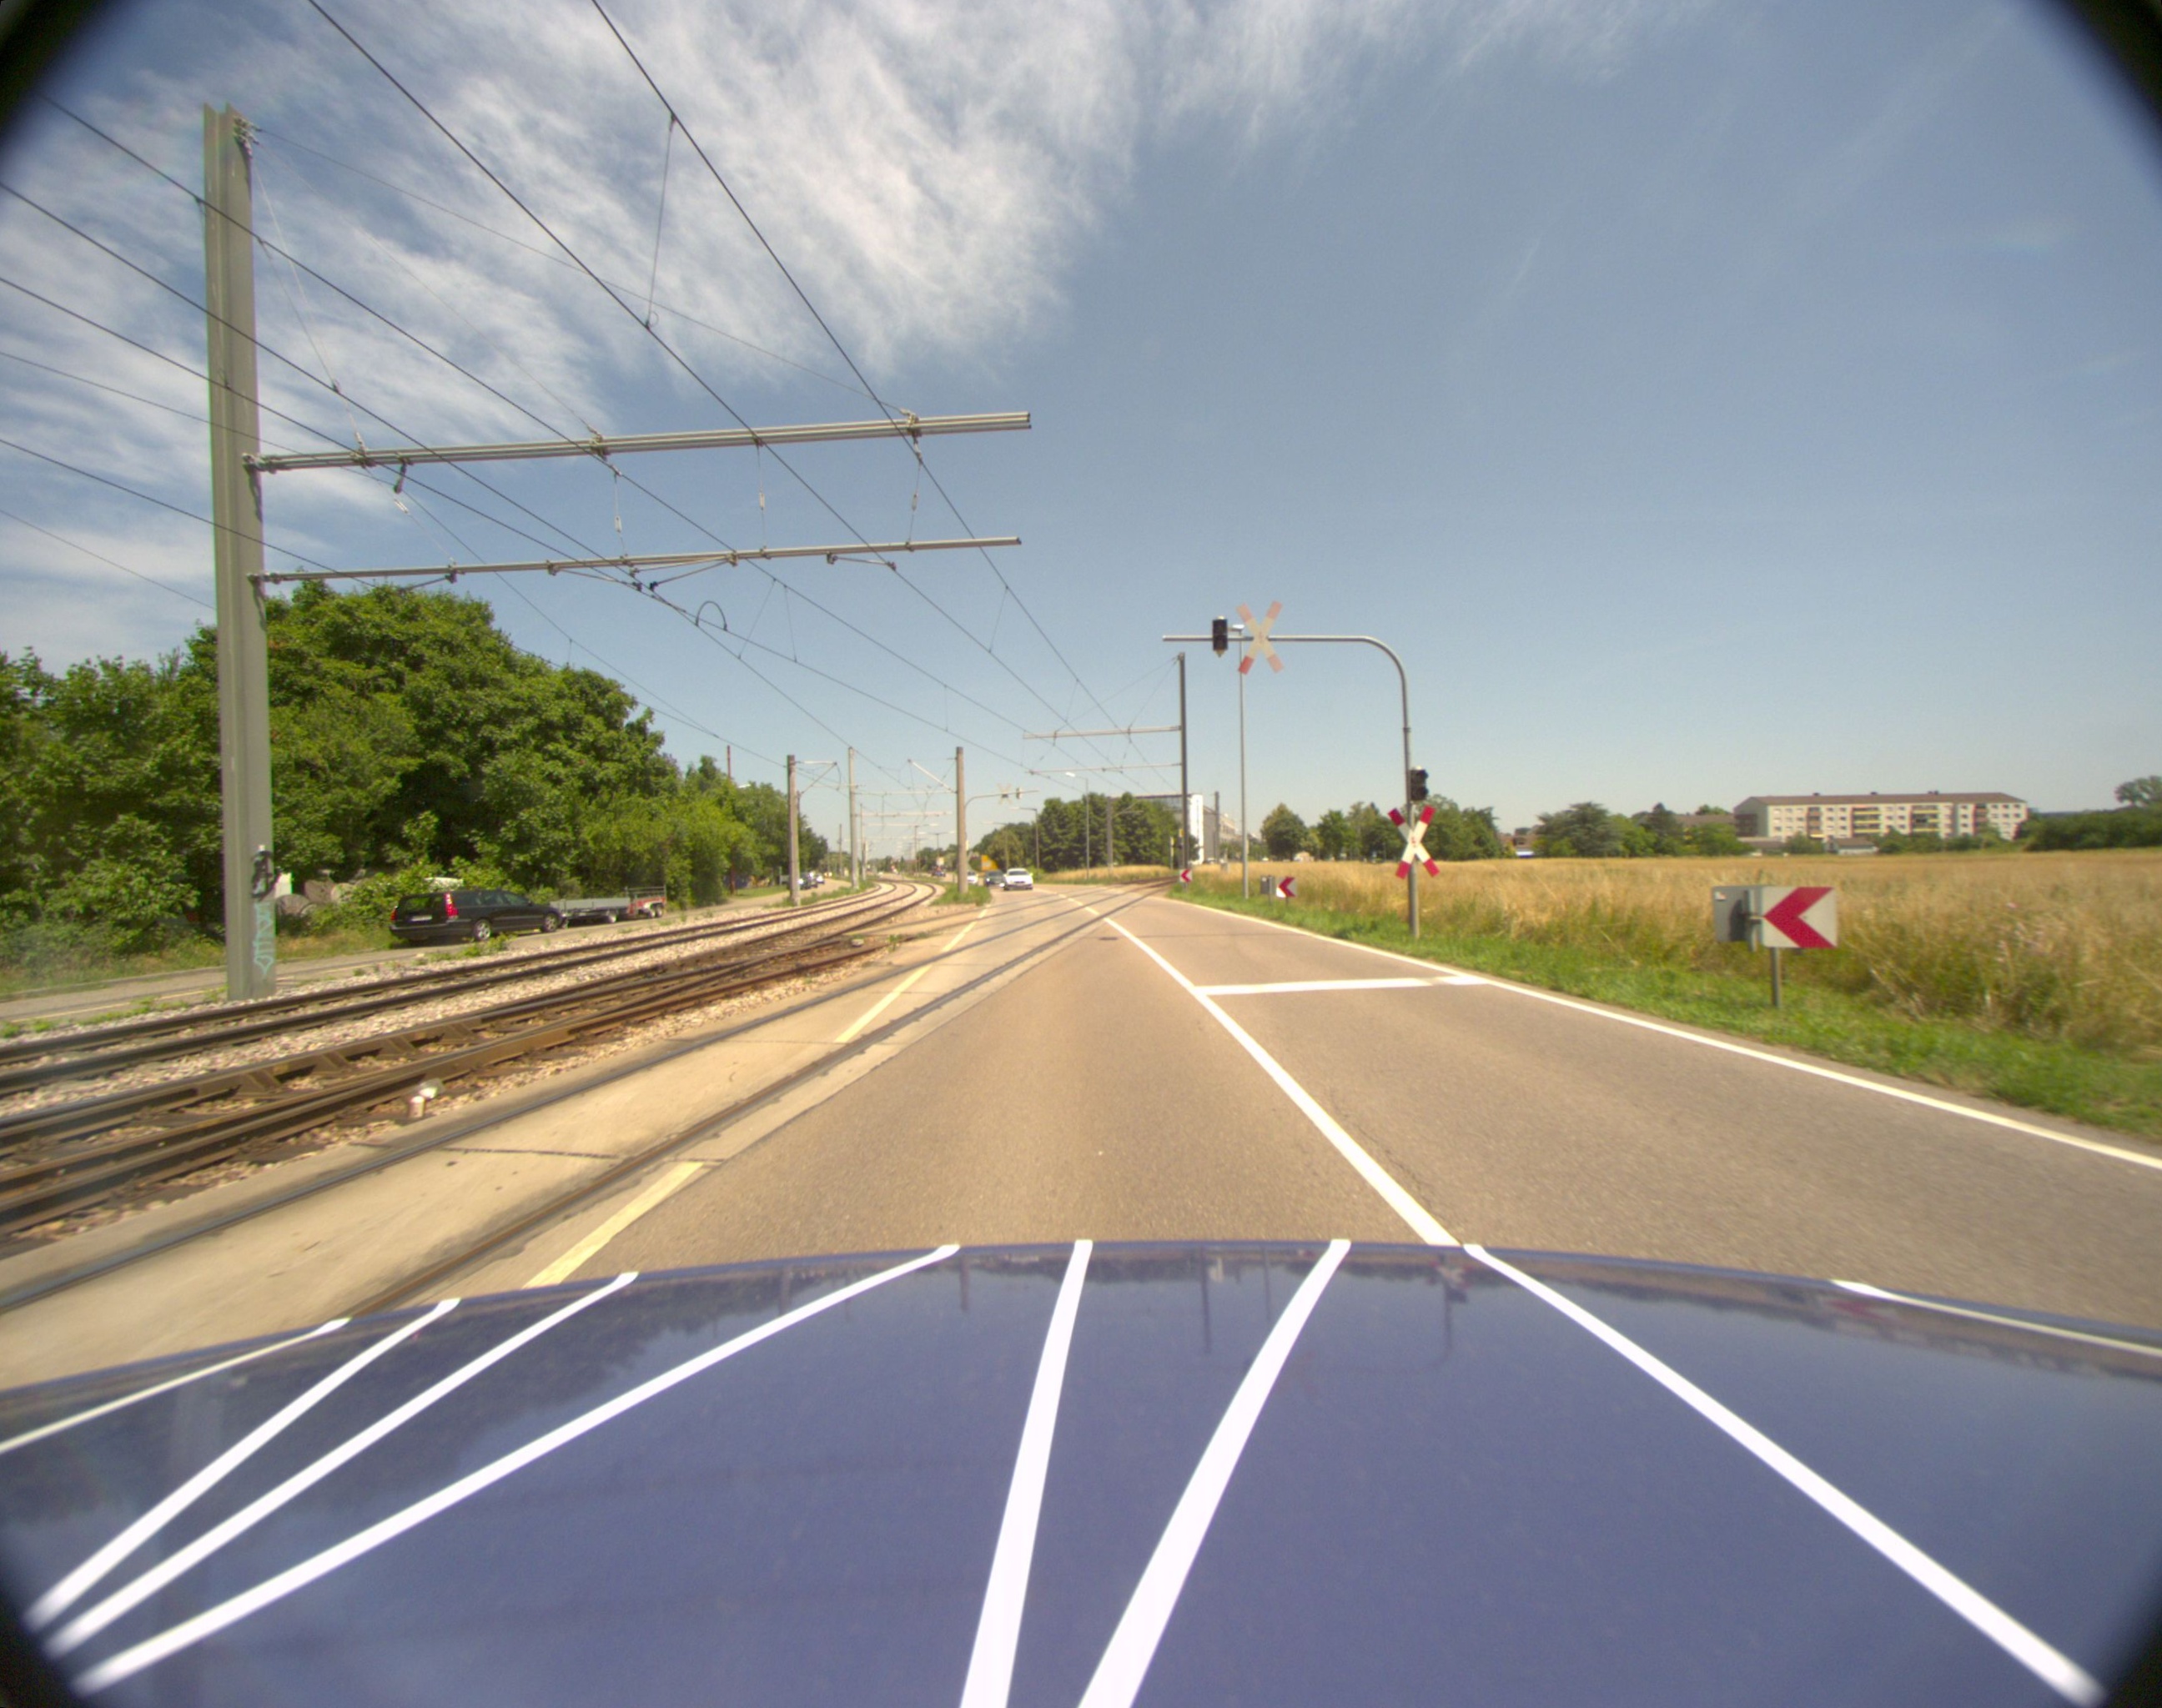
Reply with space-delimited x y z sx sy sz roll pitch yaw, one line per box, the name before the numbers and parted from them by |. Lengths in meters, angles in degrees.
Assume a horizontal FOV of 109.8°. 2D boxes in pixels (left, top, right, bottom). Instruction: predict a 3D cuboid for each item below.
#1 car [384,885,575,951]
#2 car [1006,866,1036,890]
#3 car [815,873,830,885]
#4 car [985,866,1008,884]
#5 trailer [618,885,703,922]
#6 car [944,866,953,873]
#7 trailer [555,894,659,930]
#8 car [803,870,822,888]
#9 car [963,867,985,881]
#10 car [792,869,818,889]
car | -16.894 1.724 21.719 1.801 1.418 4.738 -1 1 -3
car | -4.125 1.609 51.621 1.773 1.434 4.126 -1 1 -8
car | -34.391 3.304 101.203 1.687 1.406 4.543 -1 1 -17
car | -7.260 1.757 65.343 1.511 1.423 3.354 -1 1 -14
trailer | -17.575 2.022 31.930 1.466 1.215 3.998 -1 1 -3
car | -32.644 3.840 187.285 1.833 1.592 4.479 -2 -1 -14
trailer | -17.290 2.085 27.917 1.423 0.988 4.000 -4 -1 -3
car | -27.793 2.545 78.680 1.683 1.615 4.703 -1 1 -18
car | -12.524 2.346 88.879 1.812 1.465 3.506 -1 1 -19
car | -26.356 2.362 72.680 1.835 1.647 4.809 -1 1 -15
